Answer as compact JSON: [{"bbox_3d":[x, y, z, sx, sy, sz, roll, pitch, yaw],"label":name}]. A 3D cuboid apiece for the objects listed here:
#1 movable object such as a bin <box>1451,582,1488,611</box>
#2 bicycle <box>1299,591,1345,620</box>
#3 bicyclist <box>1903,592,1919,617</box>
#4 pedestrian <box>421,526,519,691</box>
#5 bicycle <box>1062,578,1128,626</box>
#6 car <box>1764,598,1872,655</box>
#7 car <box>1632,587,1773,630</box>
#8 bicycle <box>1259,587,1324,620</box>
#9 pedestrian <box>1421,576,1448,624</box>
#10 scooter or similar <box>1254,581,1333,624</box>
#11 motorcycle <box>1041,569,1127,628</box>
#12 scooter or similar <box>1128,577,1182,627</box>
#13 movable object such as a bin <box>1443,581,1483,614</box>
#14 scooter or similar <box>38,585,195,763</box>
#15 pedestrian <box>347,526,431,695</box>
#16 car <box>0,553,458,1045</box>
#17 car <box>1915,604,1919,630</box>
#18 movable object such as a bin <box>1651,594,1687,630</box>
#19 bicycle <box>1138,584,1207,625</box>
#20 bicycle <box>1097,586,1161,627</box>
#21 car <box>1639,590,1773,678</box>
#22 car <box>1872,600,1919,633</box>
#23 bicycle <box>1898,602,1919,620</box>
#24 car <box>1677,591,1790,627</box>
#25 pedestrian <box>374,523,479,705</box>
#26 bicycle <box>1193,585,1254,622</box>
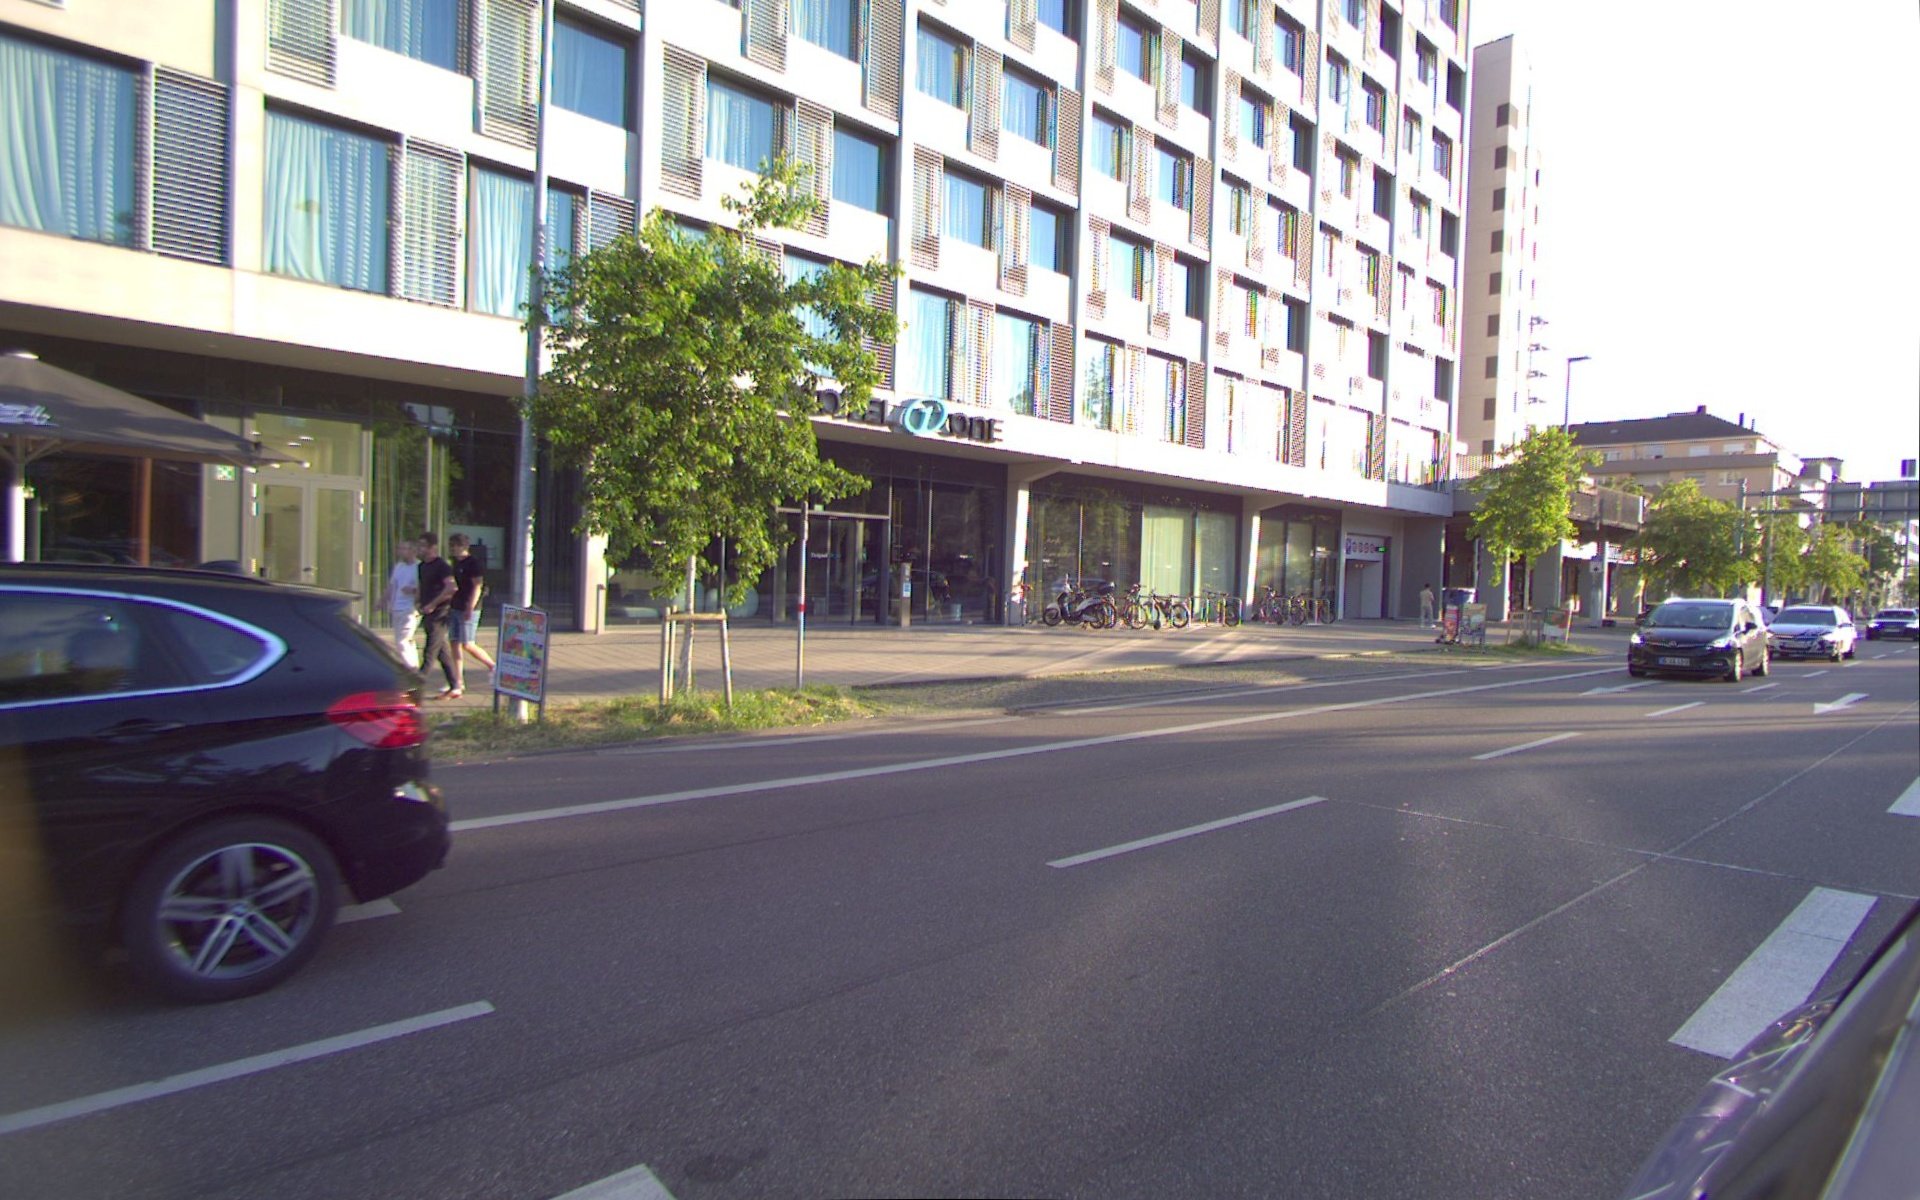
[{"bbox_3d":[24.037,-0.162,47.729,1.283,1.315,1.183,1,2,-43],"label":"movable object such as a bin"},{"bbox_3d":[12.576,0.185,35.158,0.449,0.902,1.424,1,2,-42],"label":"bicycle"},{"bbox_3d":[67.862,0.296,71.940,0.810,1.713,0.955,3,2,20],"label":"bicyclist"},{"bbox_3d":[-5.778,0.080,11.920,0.922,1.846,0.759,1,3,-33],"label":"pedestrian"},{"bbox_3d":[3.614,0.037,27.162,1.603,1.168,0.604,5,3,36],"label":"bicycle"},{"bbox_3d":[24.029,0.702,28.298,4.230,1.482,1.830,1,0,-43],"label":"car"},{"bbox_3d":[33.164,0.343,45.349,4.593,1.526,1.936,4,3,9],"label":"car"},{"bbox_3d":[11.268,0.107,34.431,2.015,0.969,0.611,5,3,42],"label":"bicycle"},{"bbox_3d":[16.788,-0.005,35.812,0.632,1.638,0.577,1,3,-45],"label":"pedestrian"},{"bbox_3d":[10.740,0.059,32.678,0.610,1.197,2.377,1,3,-42],"label":"scooter or similar"},{"bbox_3d":[3.217,-0.057,26.441,2.105,1.403,0.664,5,2,35],"label":"motorcycle"},{"bbox_3d":[5.322,0.044,27.627,1.268,1.248,0.599,6,3,44],"label":"scooter or similar"},{"bbox_3d":[21.785,-0.096,43.838,1.261,1.346,1.107,1,3,-43],"label":"movable object such as a bin"},{"bbox_3d":[-6.756,0.548,8.170,0.524,1.233,1.300,2,4,-18],"label":"scooter or similar"},{"bbox_3d":[-6.473,0.103,11.466,0.762,1.833,0.622,1,4,-33],"label":"pedestrian"},{"bbox_3d":[-4.373,0.603,3.185,4.707,1.538,1.824,0,0,-41],"label":"car"},{"bbox_3d":[54.839,0.958,56.718,1.858,1.413,4.208,0,0,44],"label":"car"},{"bbox_3d":[29.671,0.496,42.351,1.014,1.363,1.143,6,4,43],"label":"movable object such as a bin"},{"bbox_3d":[6.033,0.118,28.823,0.556,1.022,1.888,0,4,-43],"label":"bicycle"},{"bbox_3d":[4.581,0.167,27.517,0.542,0.998,1.701,1,3,-44],"label":"bicycle"},{"bbox_3d":[15.608,0.641,21.093,1.822,1.619,4.299,1,0,42],"label":"car"},{"bbox_3d":[42.470,0.711,45.291,4.201,1.413,1.914,1,0,-41],"label":"car"},{"bbox_3d":[67.836,0.775,71.938,0.810,1.187,2.135,3,2,19],"label":"bicycle"},{"bbox_3d":[37.978,0.430,49.773,3.928,1.433,1.747,4,3,11],"label":"car"},{"bbox_3d":[-5.809,0.131,11.016,0.922,1.871,0.747,1,4,-33],"label":"pedestrian"},{"bbox_3d":[7.968,0.093,30.674,0.542,0.998,1.701,1,4,-44],"label":"bicycle"}]
